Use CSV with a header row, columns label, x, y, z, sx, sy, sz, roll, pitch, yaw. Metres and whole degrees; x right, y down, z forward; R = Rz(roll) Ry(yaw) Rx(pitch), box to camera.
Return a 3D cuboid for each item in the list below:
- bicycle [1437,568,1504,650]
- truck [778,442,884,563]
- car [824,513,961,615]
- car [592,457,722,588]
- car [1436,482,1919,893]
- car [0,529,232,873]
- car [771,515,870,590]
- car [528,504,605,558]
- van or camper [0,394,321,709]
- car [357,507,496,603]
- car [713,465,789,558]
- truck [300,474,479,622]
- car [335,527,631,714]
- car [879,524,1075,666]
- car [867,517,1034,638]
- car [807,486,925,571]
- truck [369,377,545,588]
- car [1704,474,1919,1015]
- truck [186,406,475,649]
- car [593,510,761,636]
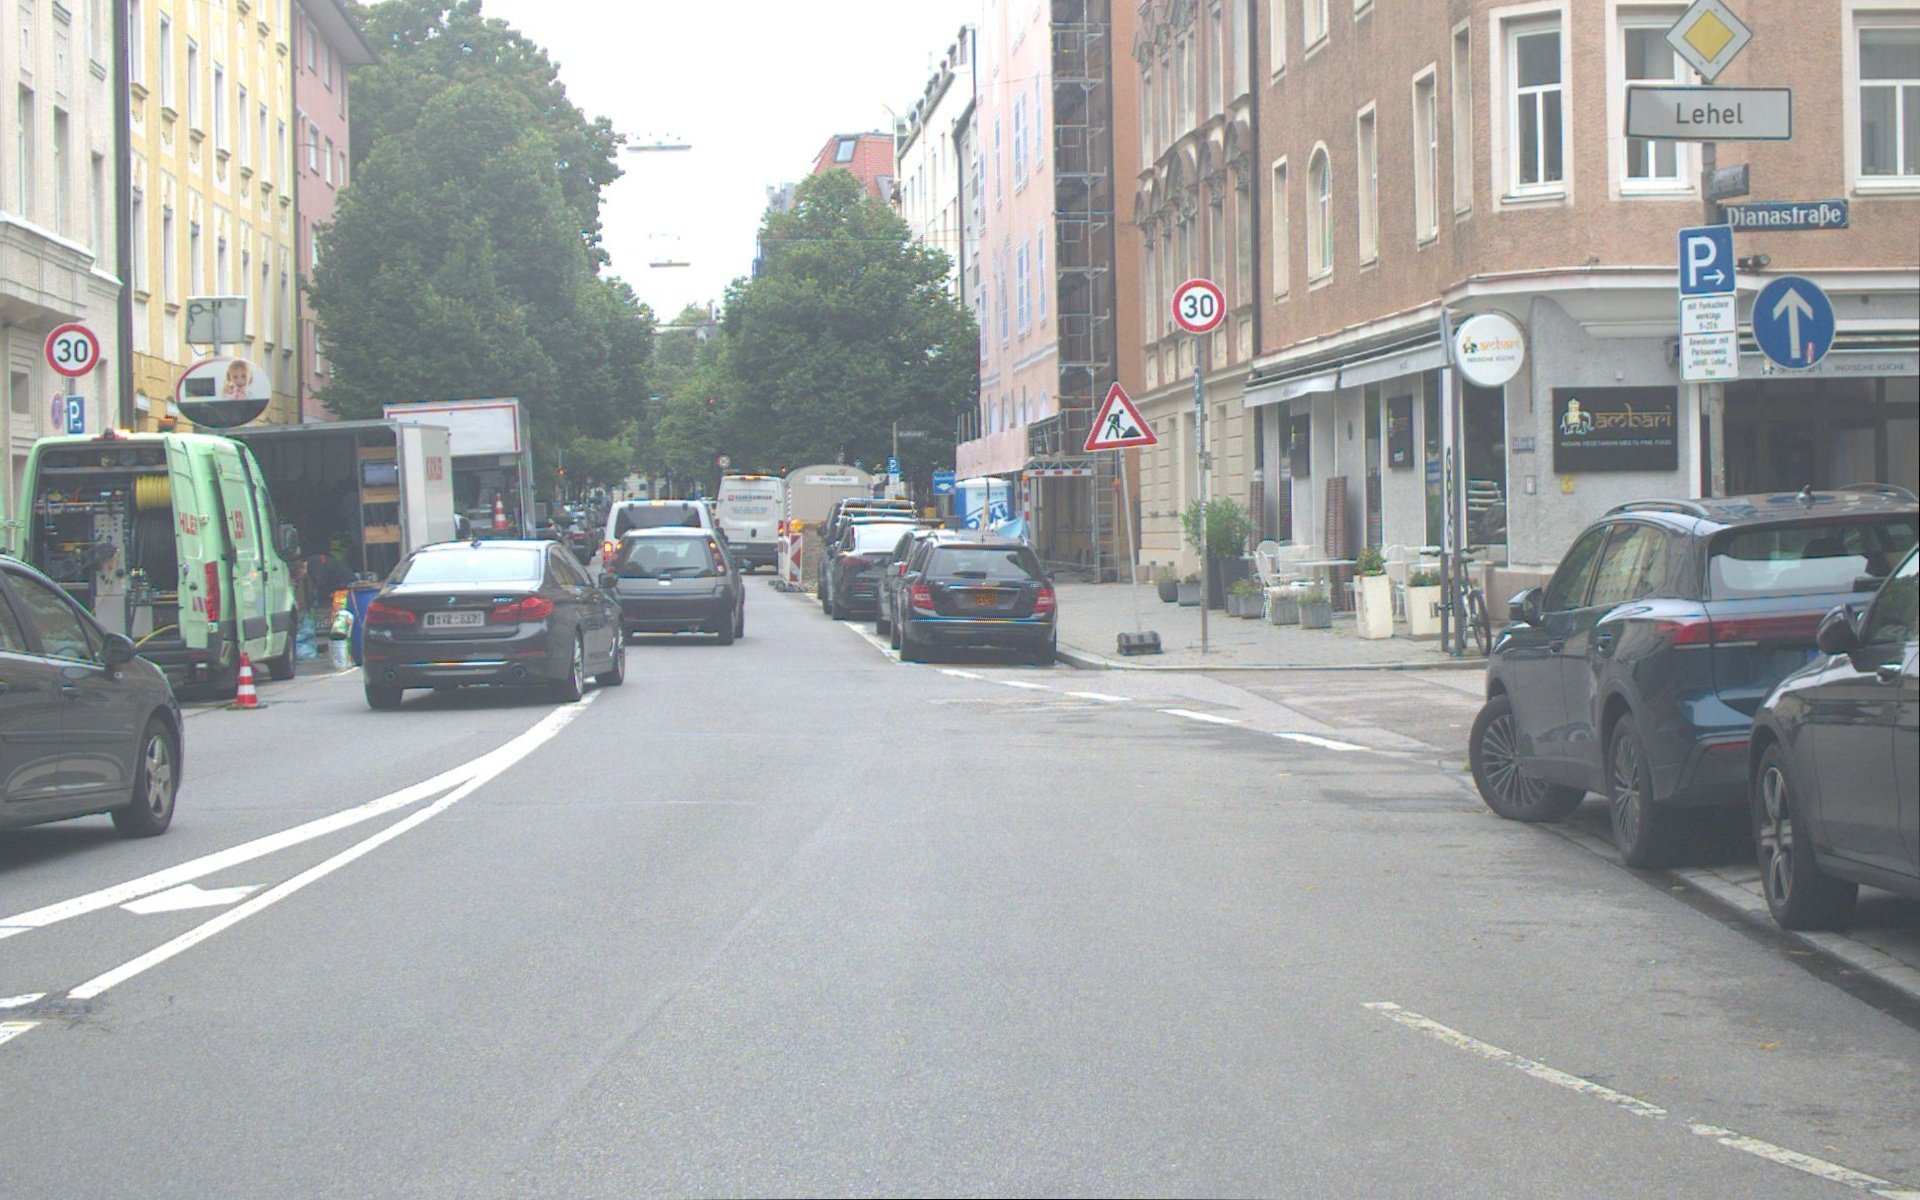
label,x,y,z,sx,sy,sz,roll,pitch,yaw
bicycle,5.244,0.086,35.338,0.456,0.802,1.327,0,1,-1
truck,-3.349,-2.491,88.003,2.491,2.963,5.329,-1,1,-4
car,-1.106,-0.597,54.450,1.844,1.424,4.307,2,2,-5
car,-5.002,-1.332,57.234,1.990,2.068,4.141,-1,2,-3
car,3.653,0.305,16.732,1.818,1.673,4.511,-2,1,-2
car,-4.891,0.428,16.040,1.759,1.456,4.074,-1,1,5
car,-2.945,-1.017,71.962,1.990,1.424,4.141,-1,2,-3
car,-10.849,-1.930,95.005,1.939,1.443,3.867,-1,1,-4
van or camper,-8.144,-0.565,34.413,2.600,2.830,6.187,-1,2,-3
car,-9.299,-0.818,60.190,1.990,1.605,4.141,-1,1,-3
car,-5.732,-2.437,94.643,1.939,2.471,4.783,-1,1,-2
truck,-8.726,-0.830,53.001,2.286,2.164,4.808,-1,1,-4
car,-4.238,0.121,31.301,1.990,1.424,4.906,-1,2,0
car,0.141,-0.100,39.673,1.844,1.424,4.185,2,2,-5
car,-0.180,-0.335,45.854,1.844,1.424,4.141,2,2,-5
car,-1.741,-1.322,62.205,1.990,1.424,4.141,-1,2,-3
truck,-9.837,-2.293,67.880,3.012,3.938,6.997,-1,1,-5
car,3.823,0.402,11.122,1.756,1.673,4.707,-2,1,0
truck,-8.050,-1.023,44.829,2.773,2.863,7.203,-1,2,-3
car,-3.552,-0.384,43.763,1.990,1.424,4.141,-1,2,-3
